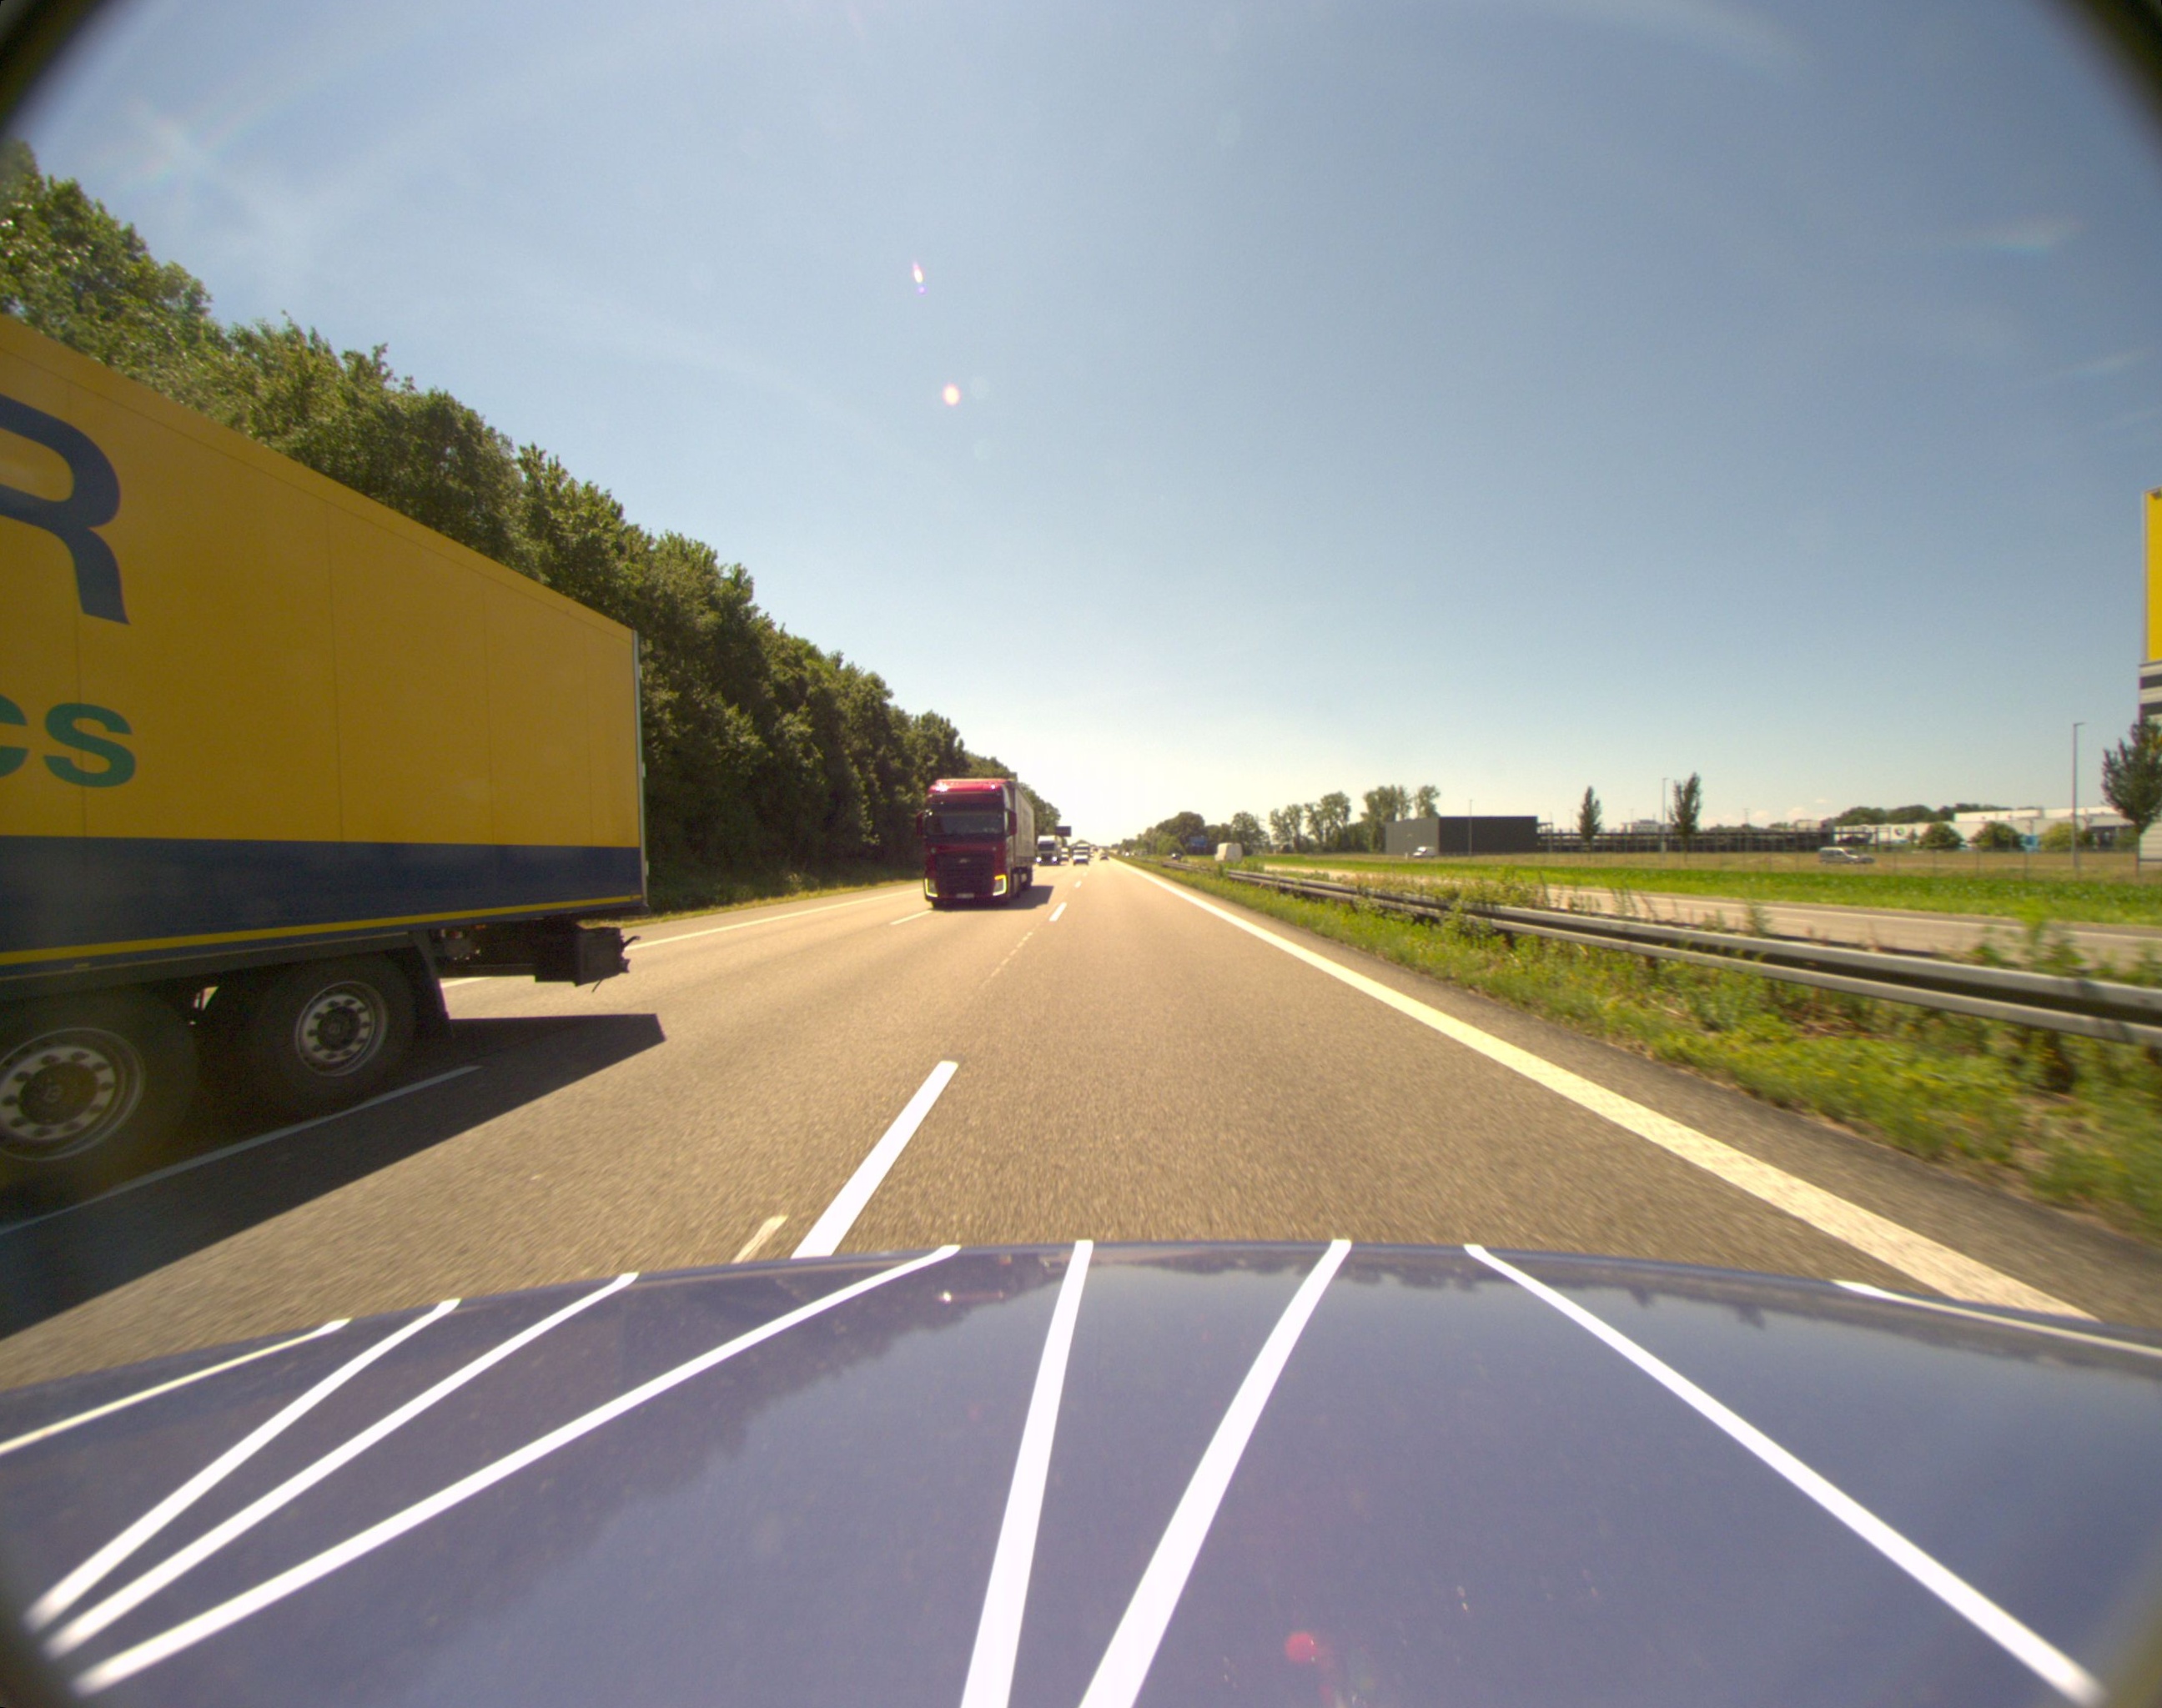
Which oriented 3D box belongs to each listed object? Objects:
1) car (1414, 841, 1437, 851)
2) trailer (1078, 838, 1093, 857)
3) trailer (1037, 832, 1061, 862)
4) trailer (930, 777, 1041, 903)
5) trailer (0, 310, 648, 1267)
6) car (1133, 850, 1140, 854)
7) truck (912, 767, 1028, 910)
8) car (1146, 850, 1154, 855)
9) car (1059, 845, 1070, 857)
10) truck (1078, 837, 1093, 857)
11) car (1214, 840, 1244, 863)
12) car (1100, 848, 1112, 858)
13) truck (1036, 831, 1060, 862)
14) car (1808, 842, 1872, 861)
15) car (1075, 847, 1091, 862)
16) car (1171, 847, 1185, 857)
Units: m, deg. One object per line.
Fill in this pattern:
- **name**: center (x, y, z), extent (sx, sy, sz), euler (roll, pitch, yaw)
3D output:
- **car**: center (78.226, -1.845, 172.751), extent (2.559, 2.235, 6.081), euler (0, 0, 0)
- **trailer**: center (1.082, -1.460, 169.074), extent (3.005, 4.046, 13.834), euler (-2, 0, 1)
- **trailer**: center (-4.564, -1.023, 110.169), extent (3.057, 4.046, 13.832), euler (-2, 0, -2)
- **trailer**: center (-3.465, -0.501, 31.685), extent (2.885, 4.046, 13.833), euler (-2, 0, 0)
- **trailer**: center (-5.920, -0.245, 0.881), extent (2.684, 4.046, 13.834), euler (-2, 0, 0)
- **car**: center (16.026, -0.568, 218.670), extent (1.729, 1.344, 4.368), euler (0, 0, 1)
- **truck**: center (-3.401, -0.466, 24.847), extent (2.870, 4.046, 5.770), euler (-2, 1, -1)
- **car**: center (20.768, -0.502, 228.552), extent (2.072, 1.520, 5.110), euler (0, 0, 1)
- **car**: center (-3.204, -0.578, 148.742), extent (2.073, 2.328, 5.767), euler (0, 1, 0)
- **truck**: center (1.017, -1.410, 161.685), extent (2.998, 4.046, 5.771), euler (-2, 1, 0)
- **car**: center (16.713, -0.303, 86.299), extent (2.072, 2.539, 7.934), euler (0, 0, 1)
- **car**: center (4.999, -0.275, 152.412), extent (2.073, 1.959, 5.109), euler (0, 0, 0)
- **truck**: center (-4.390, -0.973, 103.431), extent (3.064, 4.046, 5.770), euler (-2, 1, -2)
- **car**: center (71.791, -0.262, 71.980), extent (1.831, 1.726, 4.269), euler (0, 1, 0)
- **car**: center (0.266, 0.040, 100.604), extent (2.073, 1.823, 5.109), euler (0, 0, 0)
- **car**: center (18.503, -0.406, 145.012), extent (2.019, 1.735, 4.910), euler (0, 0, 1)
